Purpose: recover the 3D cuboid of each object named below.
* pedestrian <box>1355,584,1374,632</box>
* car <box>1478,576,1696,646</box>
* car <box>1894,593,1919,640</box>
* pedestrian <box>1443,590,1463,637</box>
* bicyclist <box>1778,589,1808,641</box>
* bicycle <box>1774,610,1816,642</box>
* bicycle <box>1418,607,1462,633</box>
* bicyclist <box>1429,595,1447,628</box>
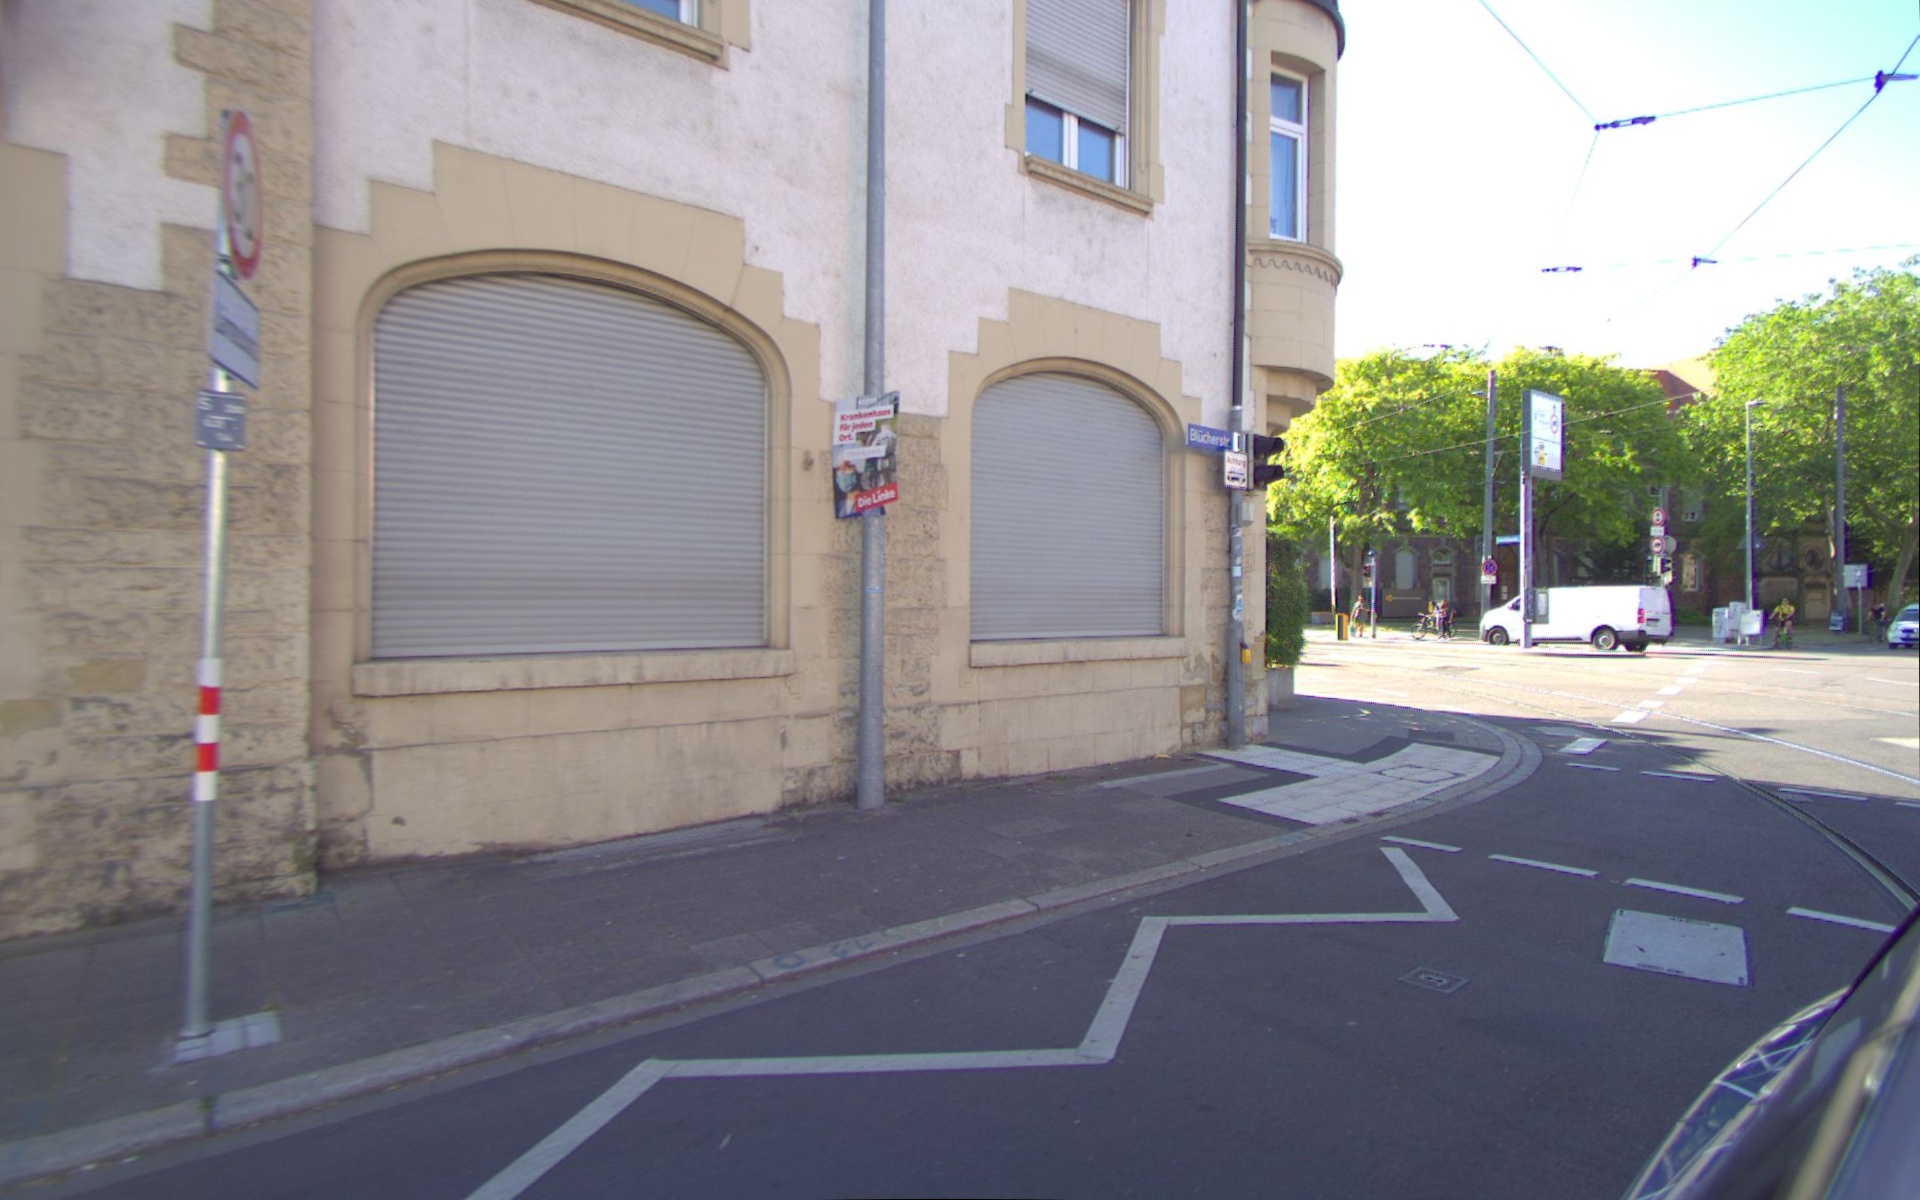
[{"bbox_3d":[16.930,0.340,42.373,0.692,1.979,0.480,0,0,32],"label":"pedestrian"},{"bbox_3d":[18.980,0.306,30.926,2.122,1.953,5.307,0,0,-31],"label":"car"},{"bbox_3d":[34.800,0.591,35.795,4.488,1.639,1.911,1,-1,-38],"label":"car"},{"bbox_3d":[19.044,0.518,39.078,0.664,1.769,0.480,0,0,32],"label":"pedestrian"},{"bbox_3d":[28.590,0.507,34.724,0.611,1.751,0.670,3,-2,-38],"label":"bicyclist"},{"bbox_3d":[28.751,0.907,34.849,2.060,1.047,0.690,3,-1,-38],"label":"bicycle"},{"bbox_3d":[19.183,0.799,40.462,1.575,1.009,0.475,0,0,23],"label":"bicycle"},{"bbox_3d":[19.132,0.460,40.500,0.612,1.300,0.475,0,0,23],"label":"bicyclist"}]
